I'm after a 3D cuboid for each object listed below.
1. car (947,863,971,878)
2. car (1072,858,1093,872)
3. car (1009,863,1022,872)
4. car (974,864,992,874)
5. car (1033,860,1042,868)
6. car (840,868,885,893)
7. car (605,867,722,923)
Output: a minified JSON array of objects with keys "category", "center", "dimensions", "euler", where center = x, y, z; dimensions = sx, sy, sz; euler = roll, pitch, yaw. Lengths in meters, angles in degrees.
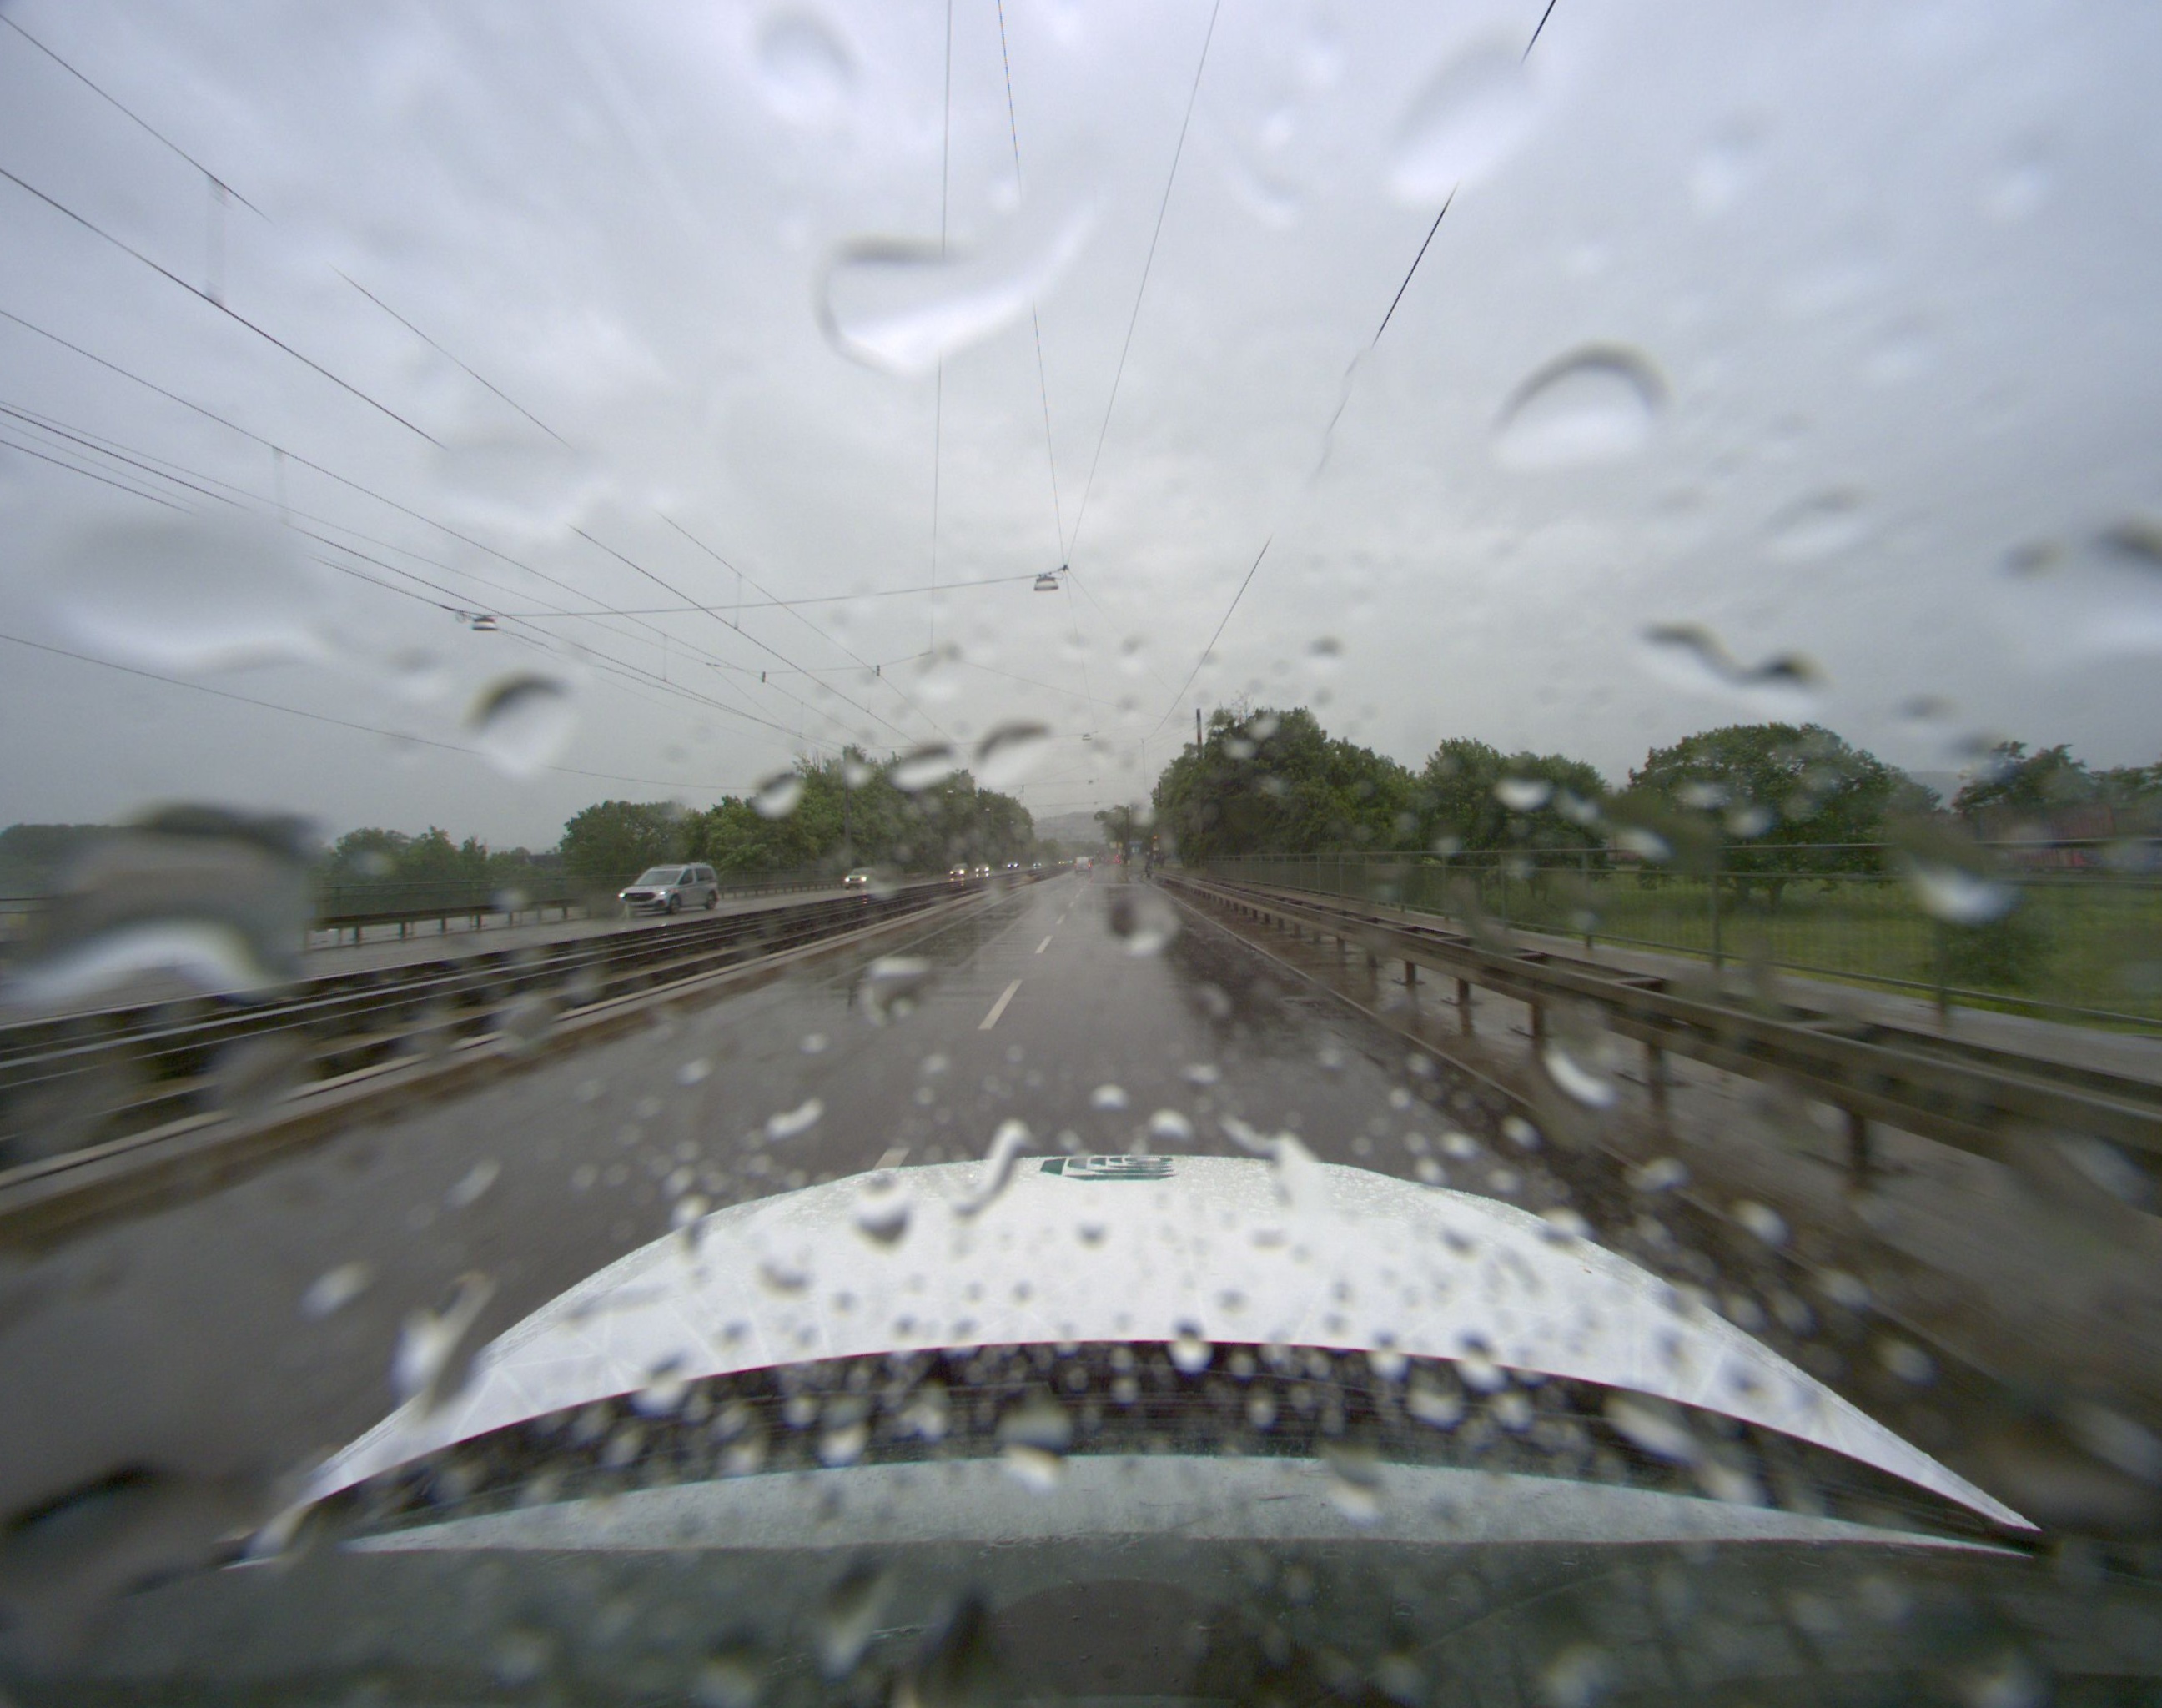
[{"category":"car","center":[-13.764,1.859,92.252],"dimensions":[1.834,1.574,4.387],"euler":[-1,-1,2]},{"category":"car","center":[0.185,1.197,90.220],"dimensions":[2.070,1.420,4.001],"euler":[-3,-1,2]},{"category":"car","center":[-12.497,2.529,154.751],"dimensions":[1.987,1.672,4.872],"euler":[-1,0,1]},{"category":"car","center":[-14.204,2.207,118.323],"dimensions":[1.987,1.388,4.853],"euler":[-1,0,1]},{"category":"car","center":[-11.524,2.659,217.688],"dimensions":[1.986,1.783,4.001],"euler":[3,0,1]},{"category":"car","center":[-14.863,1.767,55.592],"dimensions":[1.839,1.594,4.001],"euler":[-1,-1,2]},{"category":"car","center":[-15.153,1.439,29.873],"dimensions":[1.841,1.831,4.395],"euler":[2,-1,2]}]
